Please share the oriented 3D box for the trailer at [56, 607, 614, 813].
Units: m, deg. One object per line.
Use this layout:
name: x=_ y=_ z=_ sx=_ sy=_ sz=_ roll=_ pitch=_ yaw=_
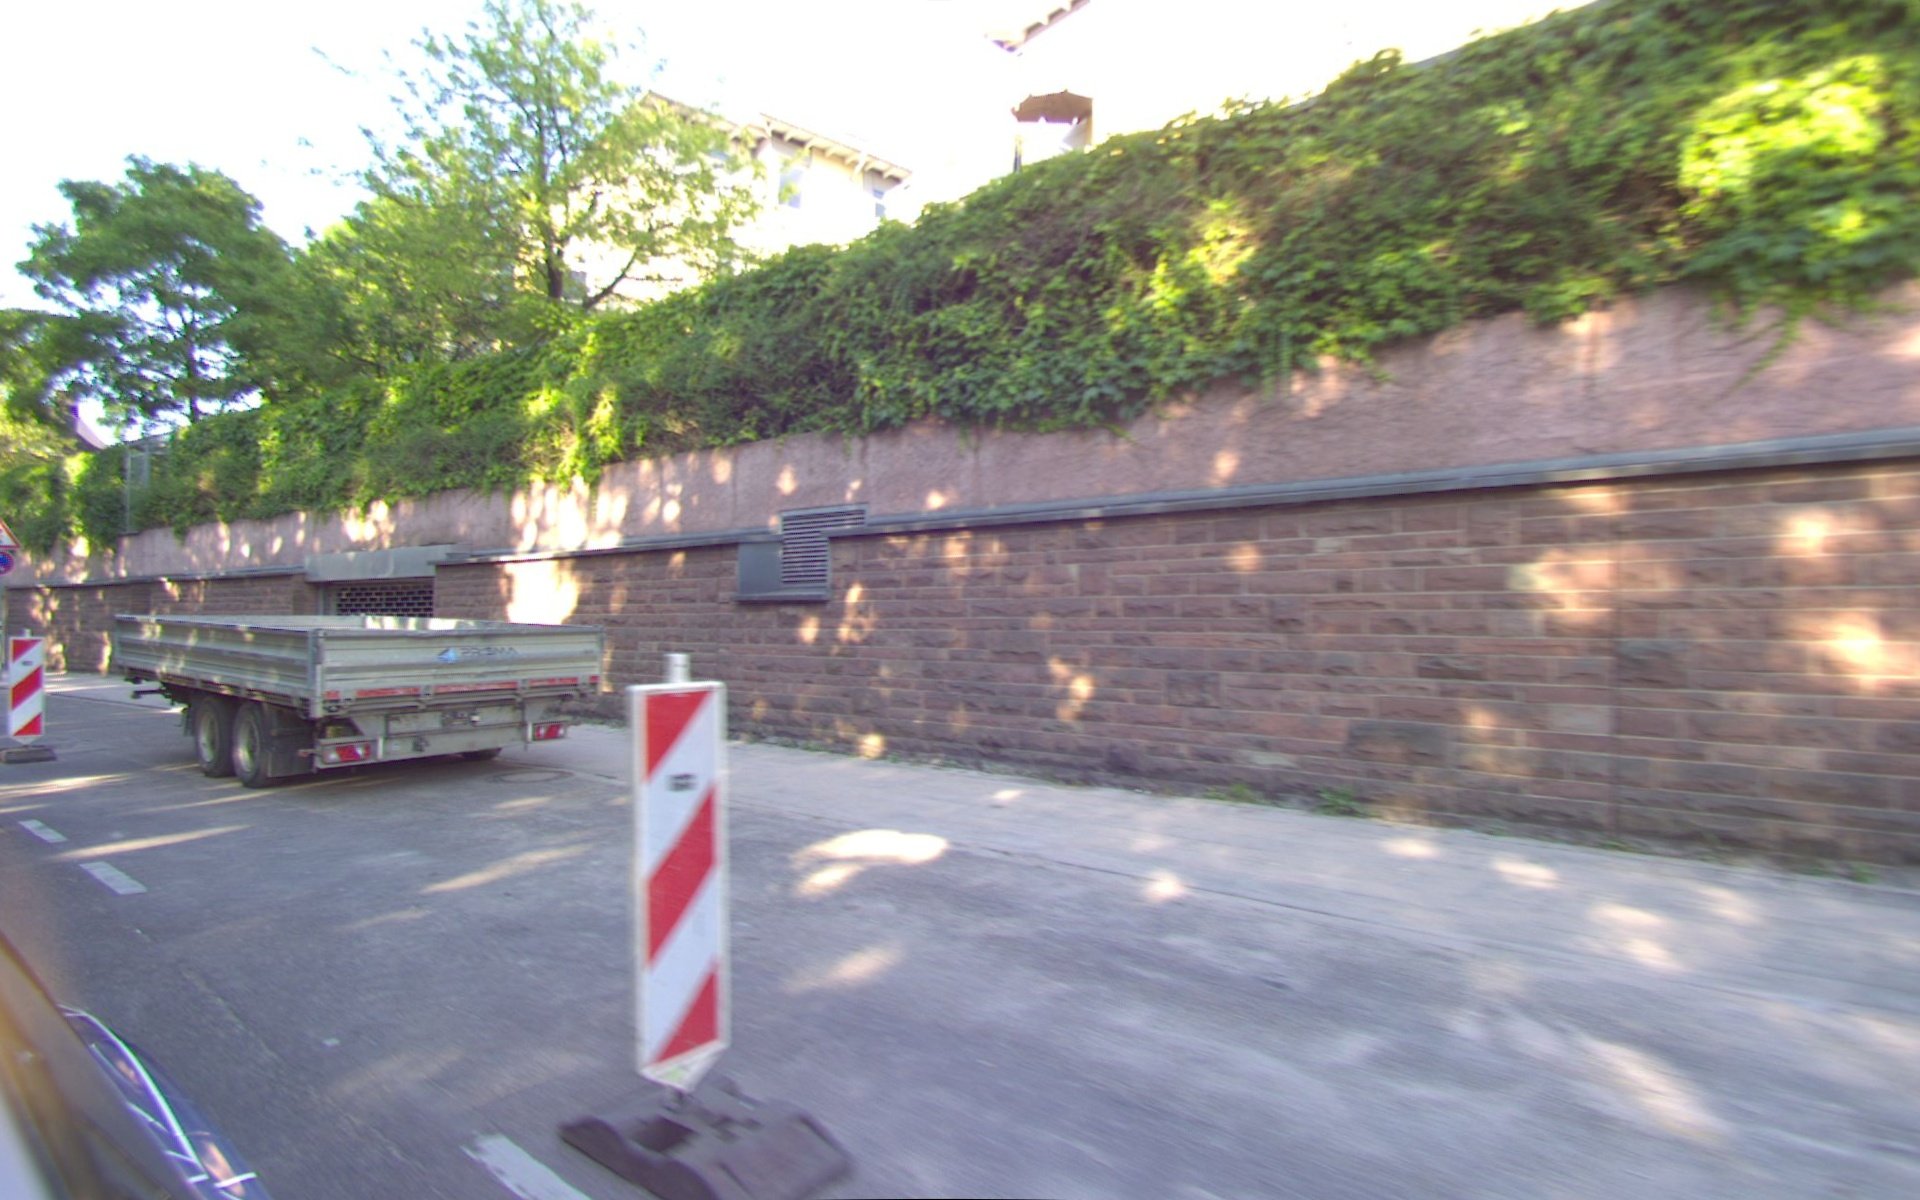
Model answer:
trailer: x=-6.858 y=0.846 z=10.618 sx=7.106 sy=1.500 sz=2.615 roll=-1 pitch=-1 yaw=37
